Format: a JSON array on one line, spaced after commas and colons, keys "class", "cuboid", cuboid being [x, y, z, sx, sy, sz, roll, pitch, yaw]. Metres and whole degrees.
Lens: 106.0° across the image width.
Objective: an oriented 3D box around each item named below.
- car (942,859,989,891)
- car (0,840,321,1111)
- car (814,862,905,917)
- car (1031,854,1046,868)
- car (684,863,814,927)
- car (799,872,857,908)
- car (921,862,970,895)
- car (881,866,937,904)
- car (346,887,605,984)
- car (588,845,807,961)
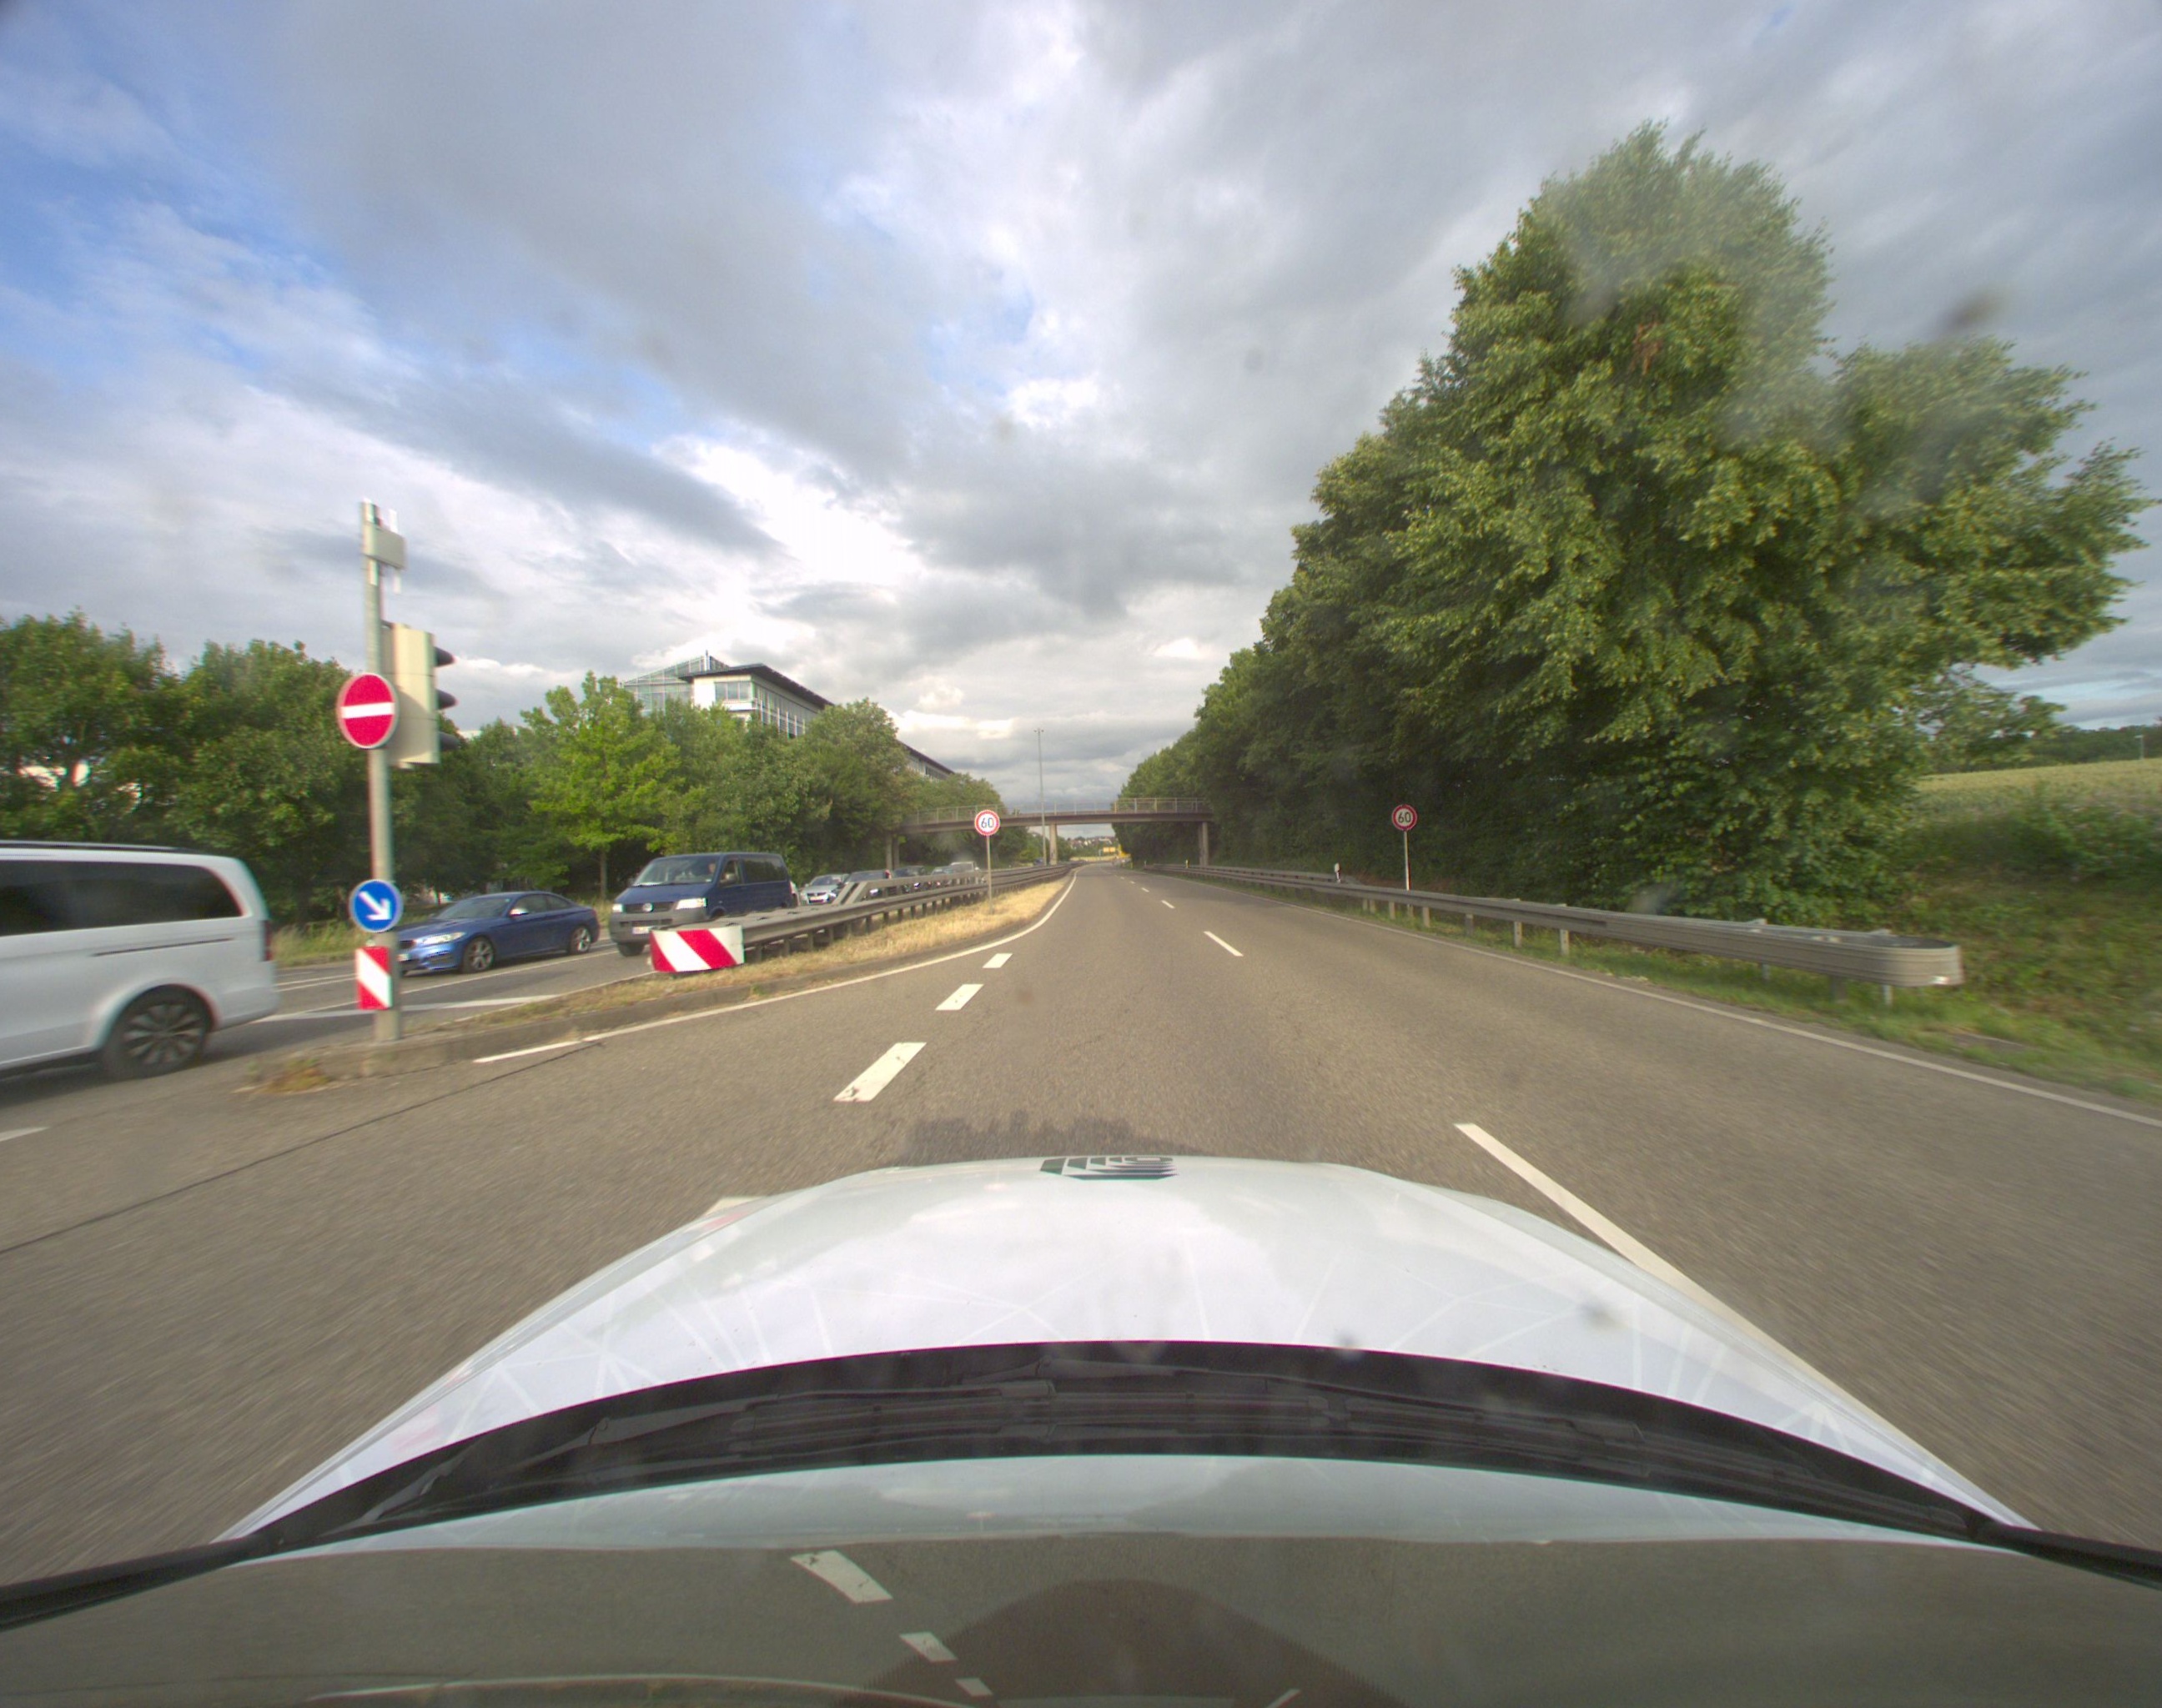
[{"class": "car", "cuboid": [-6.759, 1.199, 48.129, 1.817, 1.584, 4.791, -6, -1, 1]}, {"class": "car", "cuboid": [-8.469, 0.890, 5.261, 1.927, 1.872, 5.348, -3, 0, 1]}, {"class": "car", "cuboid": [-7.419, 1.142, 27.765, 1.707, 1.589, 4.554, -4, -1, 1]}, {"class": "car", "cuboid": [-8.310, 1.316, 159.617, 2.242, 2.536, 6.941, -6, -1, 1]}, {"class": "car", "cuboid": [-10.791, 1.253, 26.951, 2.026, 1.749, 4.848, -4, 0, 2]}, {"class": "car", "cuboid": [-10.772, 1.491, 34.814, 1.425, 1.353, 3.308, -3, 0, -1]}, {"class": "car", "cuboid": [-6.749, 1.186, 40.802, 1.712, 1.467, 3.735, -2, 0, 1]}, {"class": "car", "cuboid": [-7.514, 1.322, 35.884, 1.551, 1.360, 3.463, -5, 0, 1]}, {"class": "car", "cuboid": [-11.294, 1.443, 15.621, 1.641, 1.388, 4.188, -3, 0, 3]}, {"class": "car", "cuboid": [-7.765, 0.894, 17.205, 1.891, 1.916, 5.053, -5, -1, 2]}]
